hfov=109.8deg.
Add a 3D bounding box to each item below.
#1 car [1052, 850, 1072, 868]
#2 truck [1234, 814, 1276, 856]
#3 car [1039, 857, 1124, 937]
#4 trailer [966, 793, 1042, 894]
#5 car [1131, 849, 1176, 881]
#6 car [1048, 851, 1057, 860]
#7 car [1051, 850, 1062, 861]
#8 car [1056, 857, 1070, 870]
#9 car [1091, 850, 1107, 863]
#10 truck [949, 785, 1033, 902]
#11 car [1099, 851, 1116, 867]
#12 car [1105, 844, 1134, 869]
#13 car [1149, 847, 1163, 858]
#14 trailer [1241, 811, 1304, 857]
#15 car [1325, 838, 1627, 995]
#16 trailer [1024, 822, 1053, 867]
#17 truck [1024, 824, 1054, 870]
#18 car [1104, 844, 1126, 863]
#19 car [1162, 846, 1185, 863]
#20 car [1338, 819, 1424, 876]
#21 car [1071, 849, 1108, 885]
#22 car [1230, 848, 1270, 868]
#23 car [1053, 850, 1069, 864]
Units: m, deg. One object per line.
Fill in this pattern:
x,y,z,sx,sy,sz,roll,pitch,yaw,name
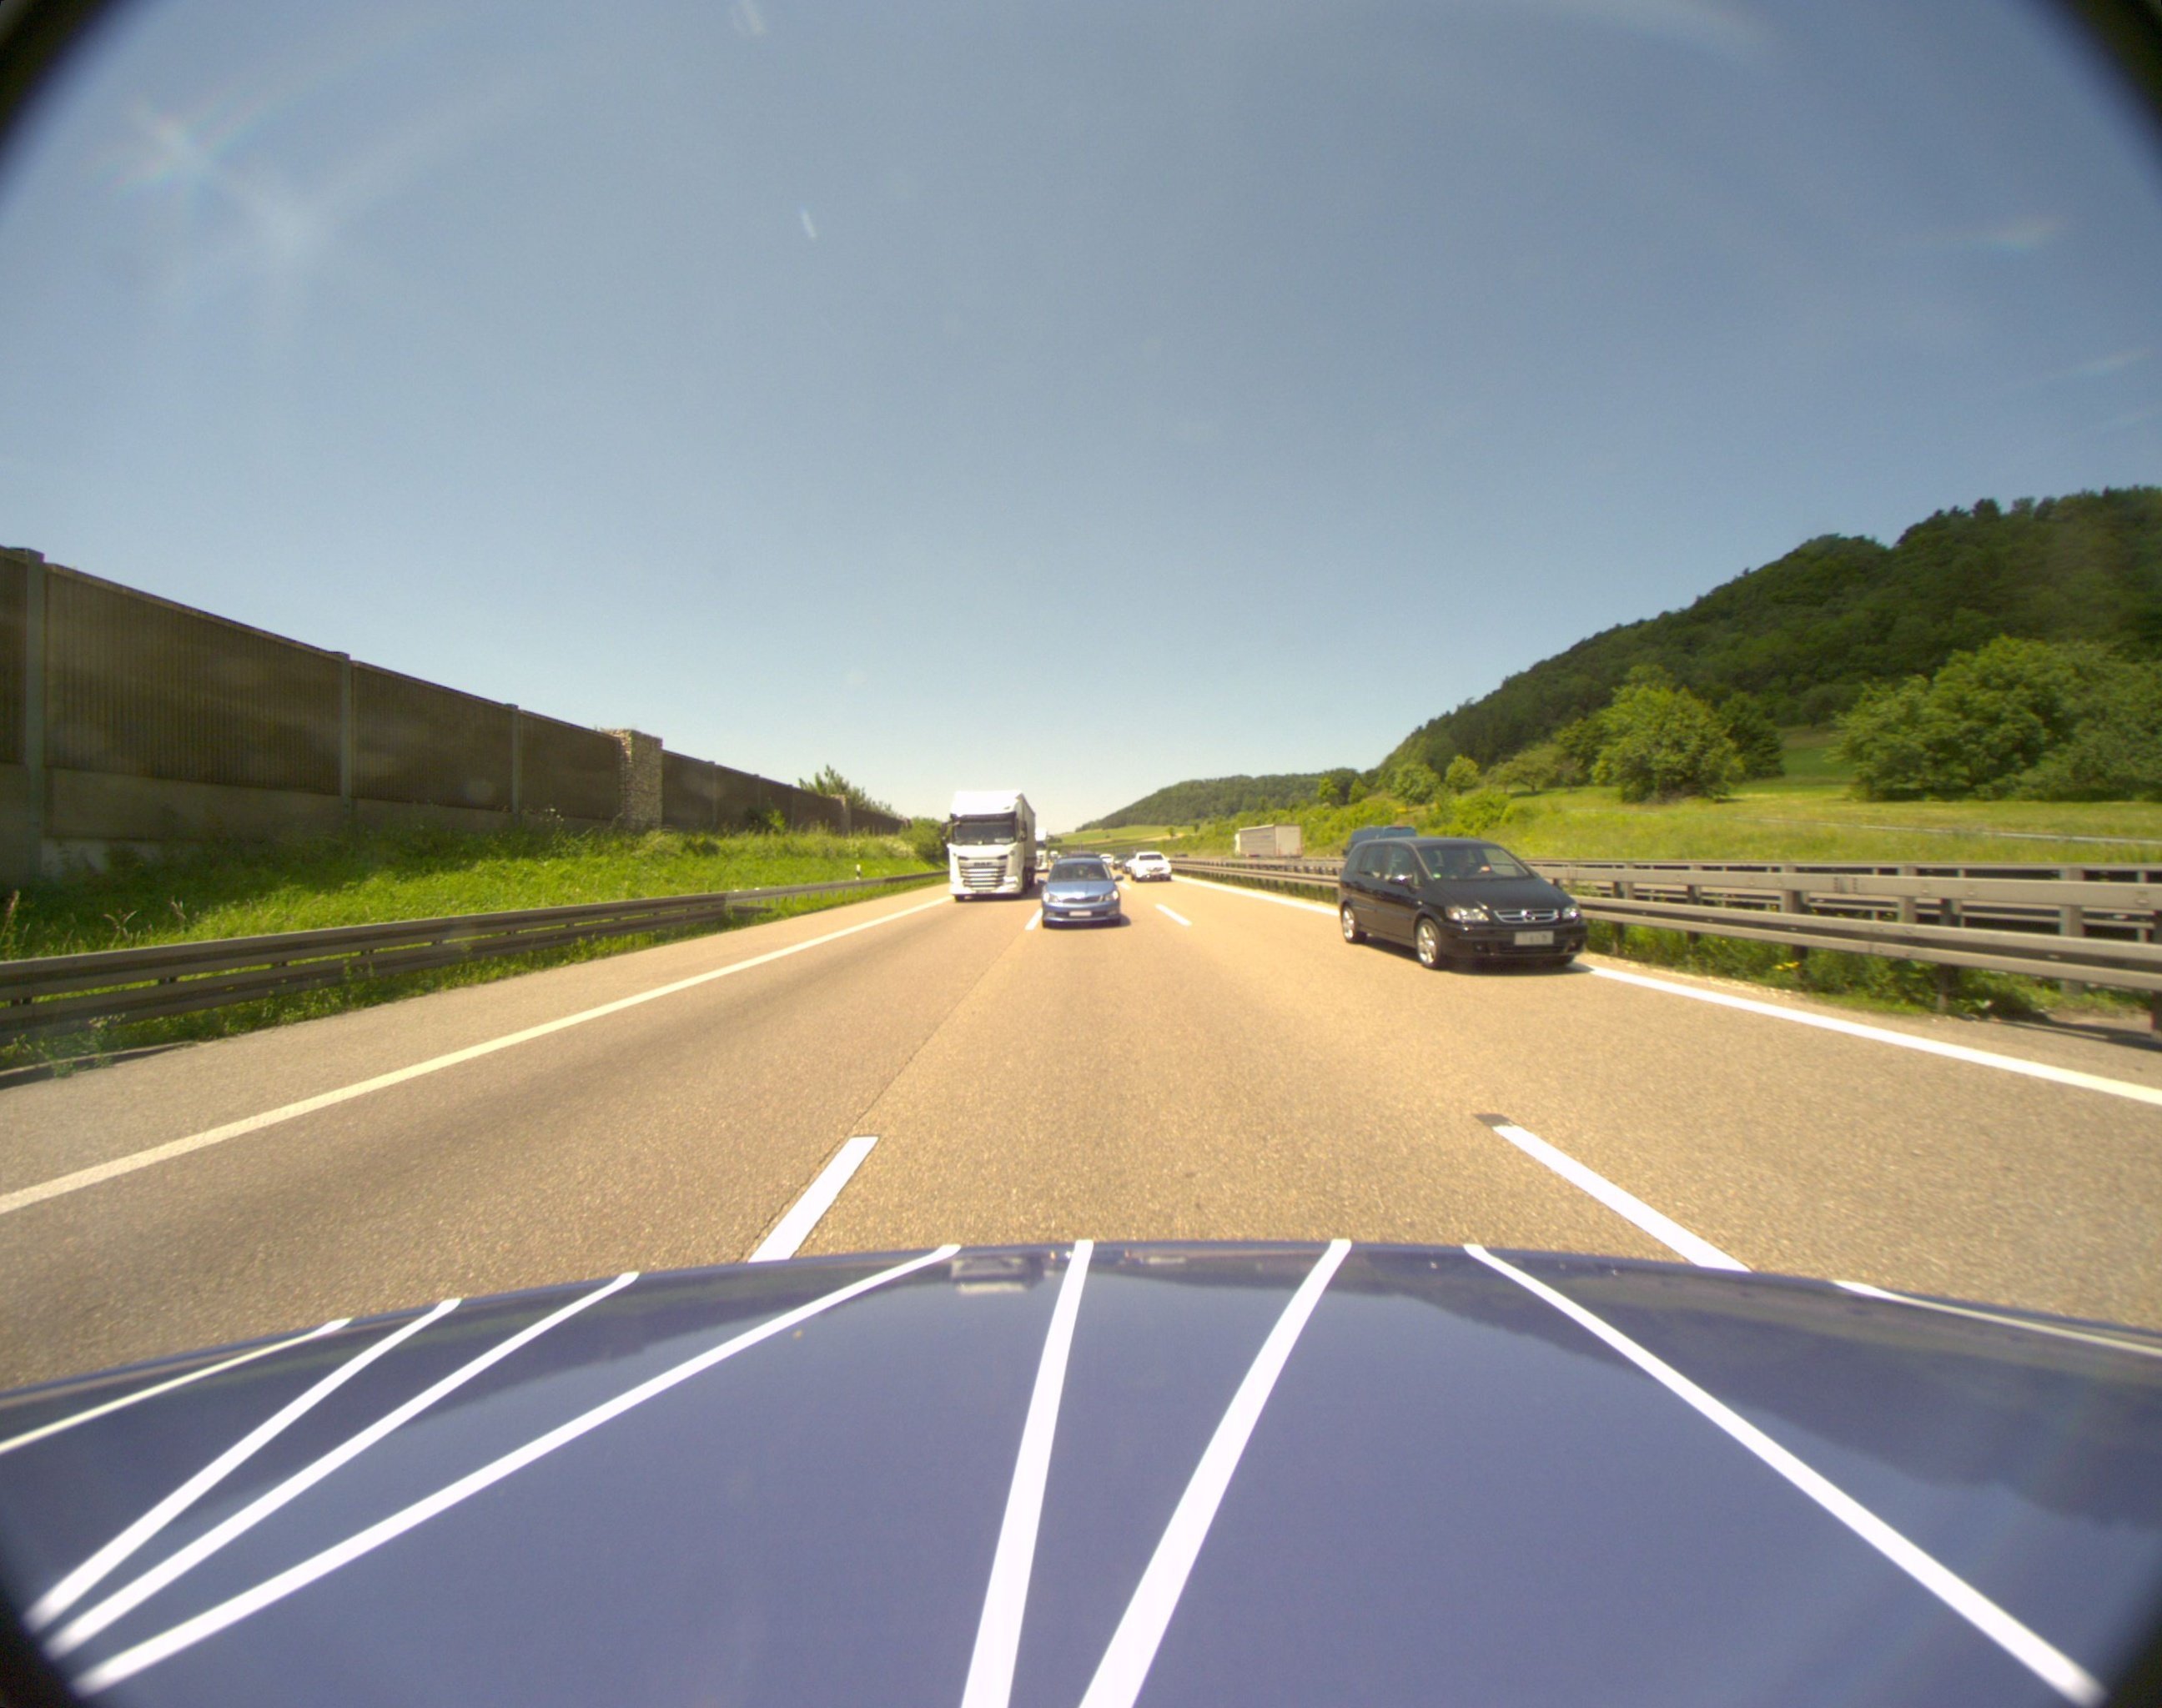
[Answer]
-2.023,0.532,80.159,1.999,1.702,3.998,-2,1,-2,car
18.964,-2.042,83.372,2.805,4.208,7.229,-2,1,0,truck
-0.067,0.863,17.398,1.660,1.481,4.652,-1,0,-2,car
-3.421,-0.457,37.066,2.484,3.954,13.652,-1,0,-1,trailer
3.887,0.565,41.410,1.999,1.612,3.999,-2,1,0,car
-6.731,0.426,177.752,1.999,2.002,3.998,-2,1,-2,car
-4.820,0.238,147.958,1.999,2.002,3.998,-2,1,-2,car
-2.789,1.451,115.363,1.999,1.702,3.998,-2,1,-2,car
2.451,0.345,104.396,1.998,1.702,3.999,-2,1,1,car
-3.307,-0.377,29.335,2.484,3.954,6.380,-1,1,-1,truck
3.221,0.604,93.298,1.998,1.702,3.999,-2,1,1,car
2.867,0.155,57.810,1.998,1.692,3.999,-2,1,1,car
12.788,-0.302,129.516,1.998,1.842,4.406,-2,0,1,car
19.145,-1.975,77.107,2.862,4.167,13.612,-2,1,0,trailer
4.931,0.656,10.340,1.805,1.625,4.445,-1,0,0,car
-4.451,-0.994,78.042,2.545,4.085,13.621,-2,1,-4,trailer
-4.062,-0.684,72.520,2.532,4.065,6.077,-2,1,-4,truck
3.273,-0.050,73.439,1.998,1.702,3.999,-2,1,1,car
10.276,0.045,84.374,1.851,1.699,4.282,-2,0,-2,car
16.484,-0.375,42.178,2.161,2.846,6.398,-2,1,0,car
0.400,0.624,38.390,1.737,1.674,4.197,-1,0,0,car
12.573,0.291,56.833,1.998,1.378,4.720,-2,0,0,car
-2.718,0.353,101.164,1.999,1.702,3.998,-2,1,-2,car
